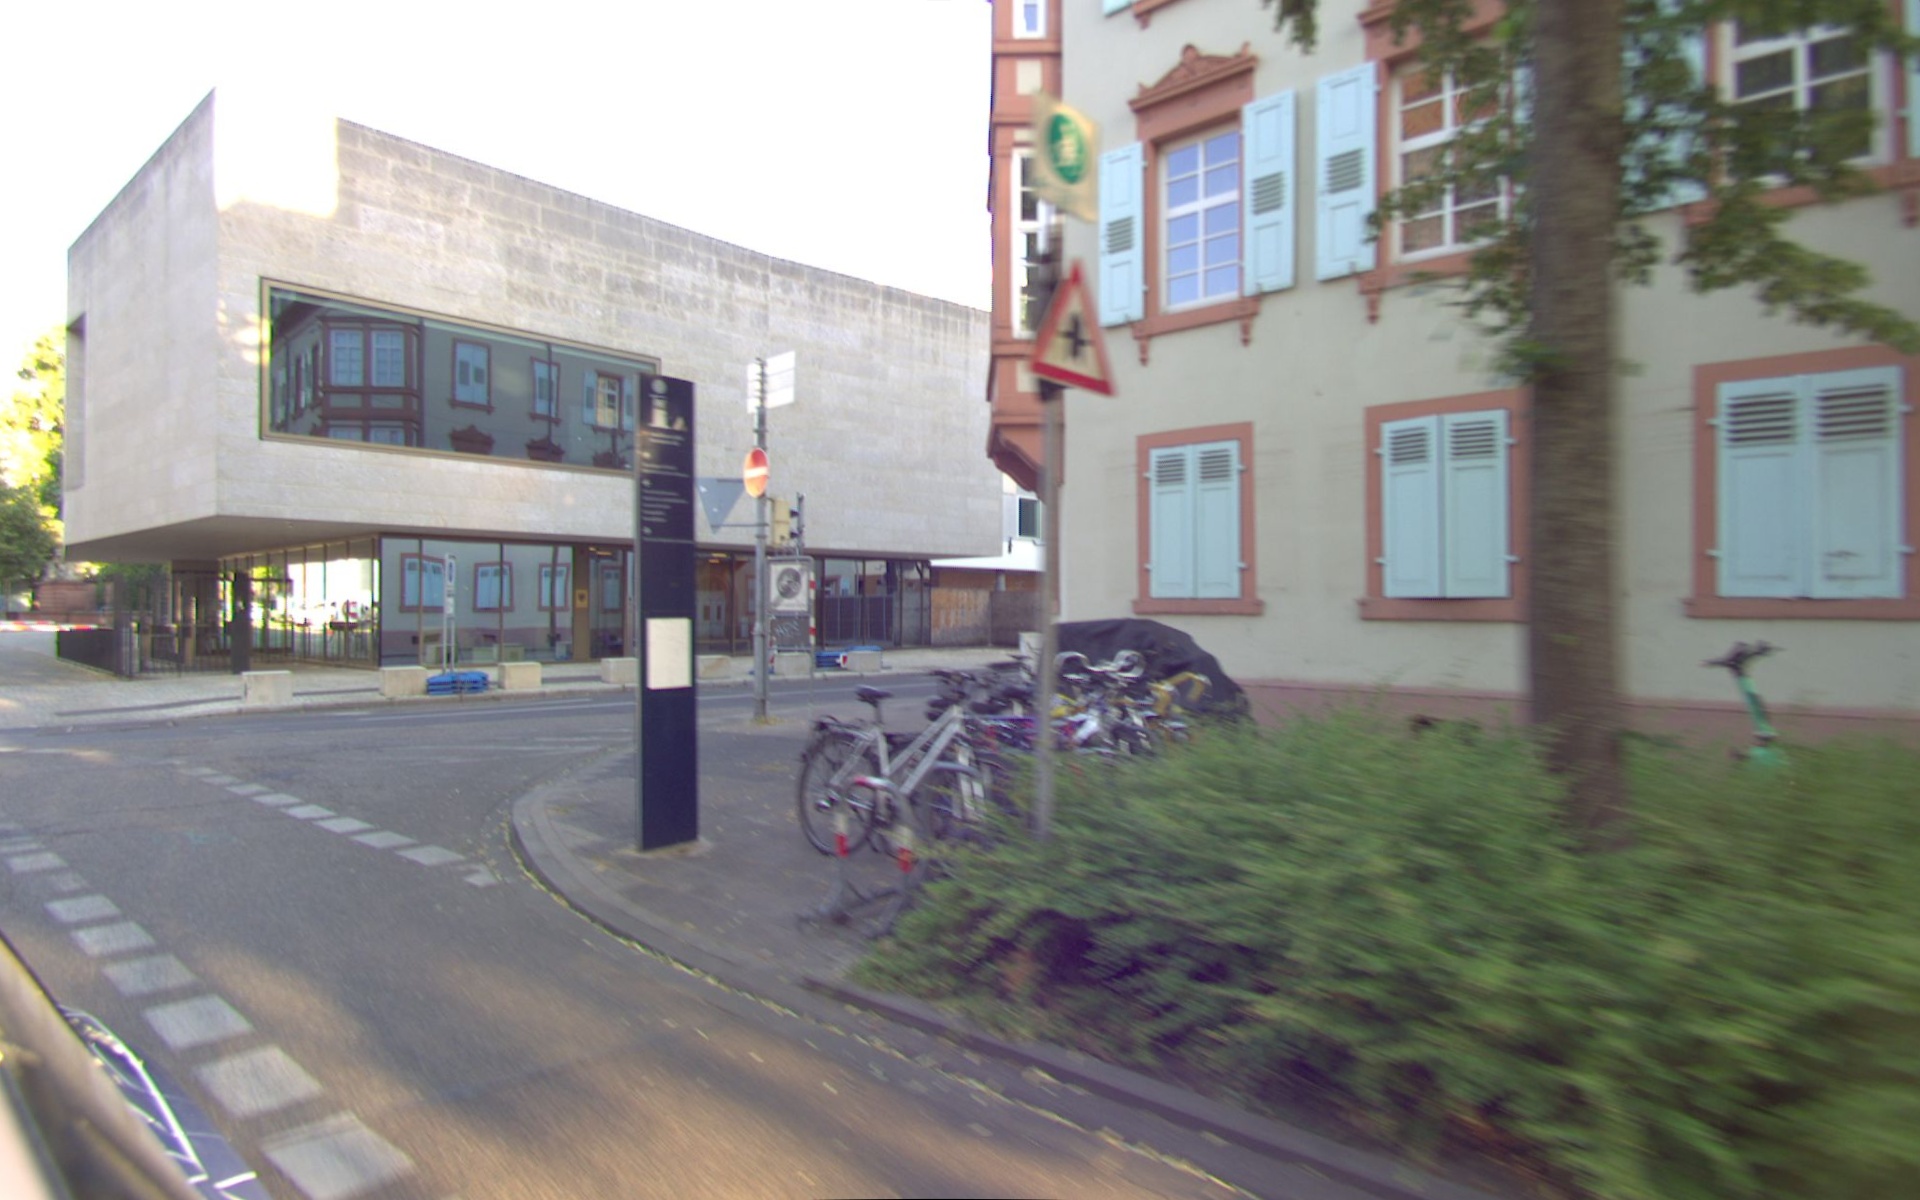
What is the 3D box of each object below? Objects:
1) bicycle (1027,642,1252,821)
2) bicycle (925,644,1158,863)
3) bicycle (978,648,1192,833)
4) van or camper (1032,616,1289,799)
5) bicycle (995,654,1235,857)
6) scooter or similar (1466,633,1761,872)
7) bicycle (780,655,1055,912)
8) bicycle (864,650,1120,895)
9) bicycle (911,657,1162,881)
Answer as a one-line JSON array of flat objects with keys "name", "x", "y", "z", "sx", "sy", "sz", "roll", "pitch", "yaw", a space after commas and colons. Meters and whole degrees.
[{"name": "bicycle", "x": 1.229, "y": 0.869, "z": 7.165, "sx": 1.596, "sy": 1.090, "sz": 0.391, "roll": -1, "pitch": 1, "yaw": 43}, {"name": "bicycle", "x": 0.460, "y": 0.889, "z": 6.345, "sx": 1.612, "sy": 1.157, "sz": 0.308, "roll": 0, "pitch": 0, "yaw": 43}, {"name": "bicycle", "x": 0.820, "y": 0.913, "z": 7.012, "sx": 1.596, "sy": 1.090, "sz": 0.319, "roll": 0, "pitch": 0, "yaw": 43}, {"name": "van or camper", "x": 1.590, "y": 0.787, "z": 8.227, "sx": 0.930, "sy": 1.269, "sz": 1.846, "roll": -1, "pitch": 0, "yaw": -45}, {"name": "bicycle", "x": 0.931, "y": 0.916, "z": 6.419, "sx": 1.596, "sy": 1.090, "sz": 0.337, "roll": 0, "pitch": -1, "yaw": 43}, {"name": "scooter or similar", "x": 3.870, "y": 0.826, "z": 6.043, "sx": 1.394, "sy": 1.231, "sz": 0.669, "roll": -1, "pitch": -1, "yaw": 41}, {"name": "bicycle", "x": -0.289, "y": 0.903, "z": 5.473, "sx": 1.712, "sy": 1.116, "sz": 0.391, "roll": 0, "pitch": 1, "yaw": 43}, {"name": "bicycle", "x": 0.125, "y": 0.886, "z": 5.658, "sx": 1.596, "sy": 1.149, "sz": 0.327, "roll": -1, "pitch": 1, "yaw": 43}, {"name": "bicycle", "x": 0.393, "y": 0.915, "z": 5.908, "sx": 1.596, "sy": 1.090, "sz": 0.315, "roll": -1, "pitch": 1, "yaw": 43}]
